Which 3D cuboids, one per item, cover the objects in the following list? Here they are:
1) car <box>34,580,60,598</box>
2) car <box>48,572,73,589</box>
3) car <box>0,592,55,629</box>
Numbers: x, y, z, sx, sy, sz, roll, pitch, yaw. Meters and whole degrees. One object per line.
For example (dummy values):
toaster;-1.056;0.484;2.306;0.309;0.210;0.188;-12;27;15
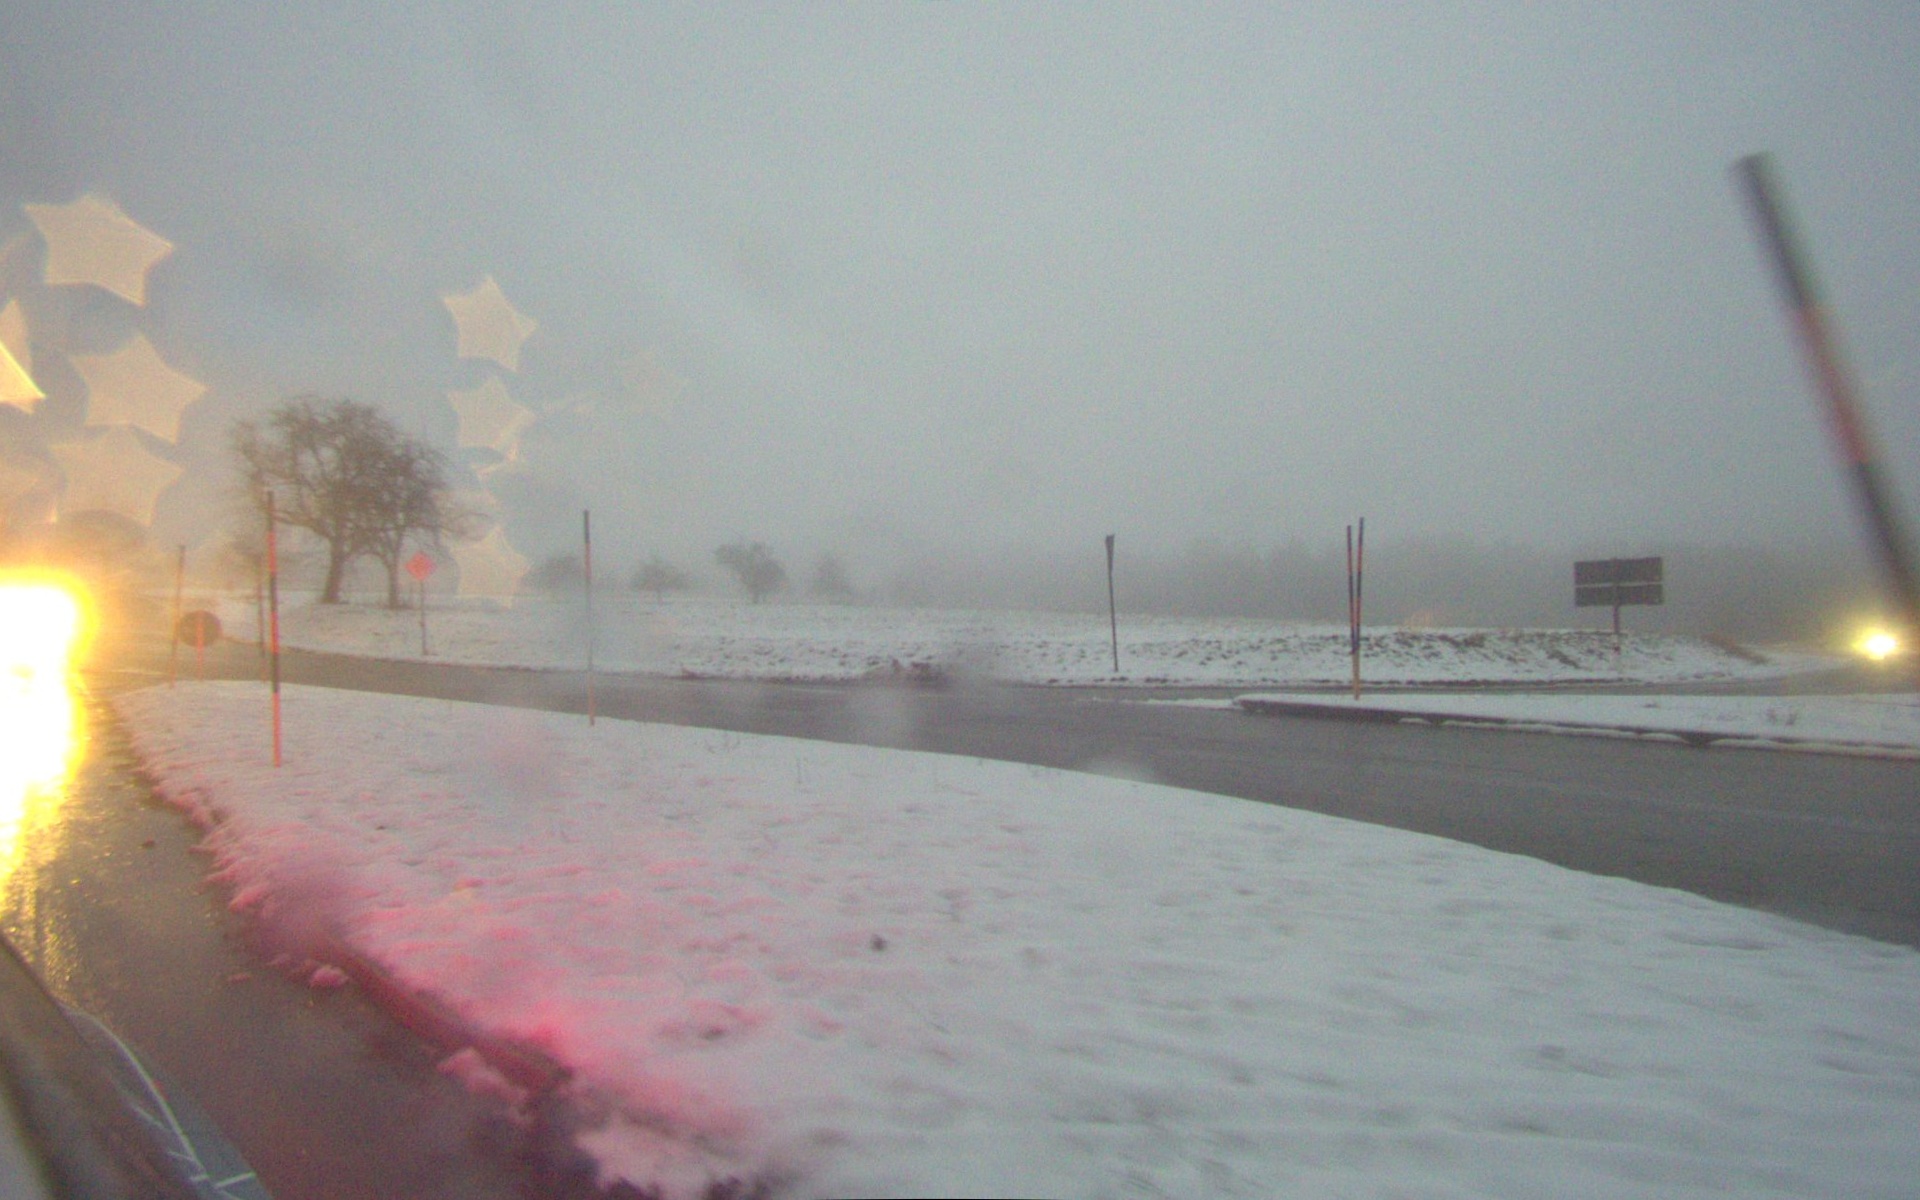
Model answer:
car;-94.263;-1.147;104.495;1.969;1.820;4.005;-1;1;-42
car;-97.235;-2.086;109.370;1.969;1.820;4.005;-1;1;-42
car;-38.147;0.418;41.337;1.700;1.445;3.680;-1;0;-43
